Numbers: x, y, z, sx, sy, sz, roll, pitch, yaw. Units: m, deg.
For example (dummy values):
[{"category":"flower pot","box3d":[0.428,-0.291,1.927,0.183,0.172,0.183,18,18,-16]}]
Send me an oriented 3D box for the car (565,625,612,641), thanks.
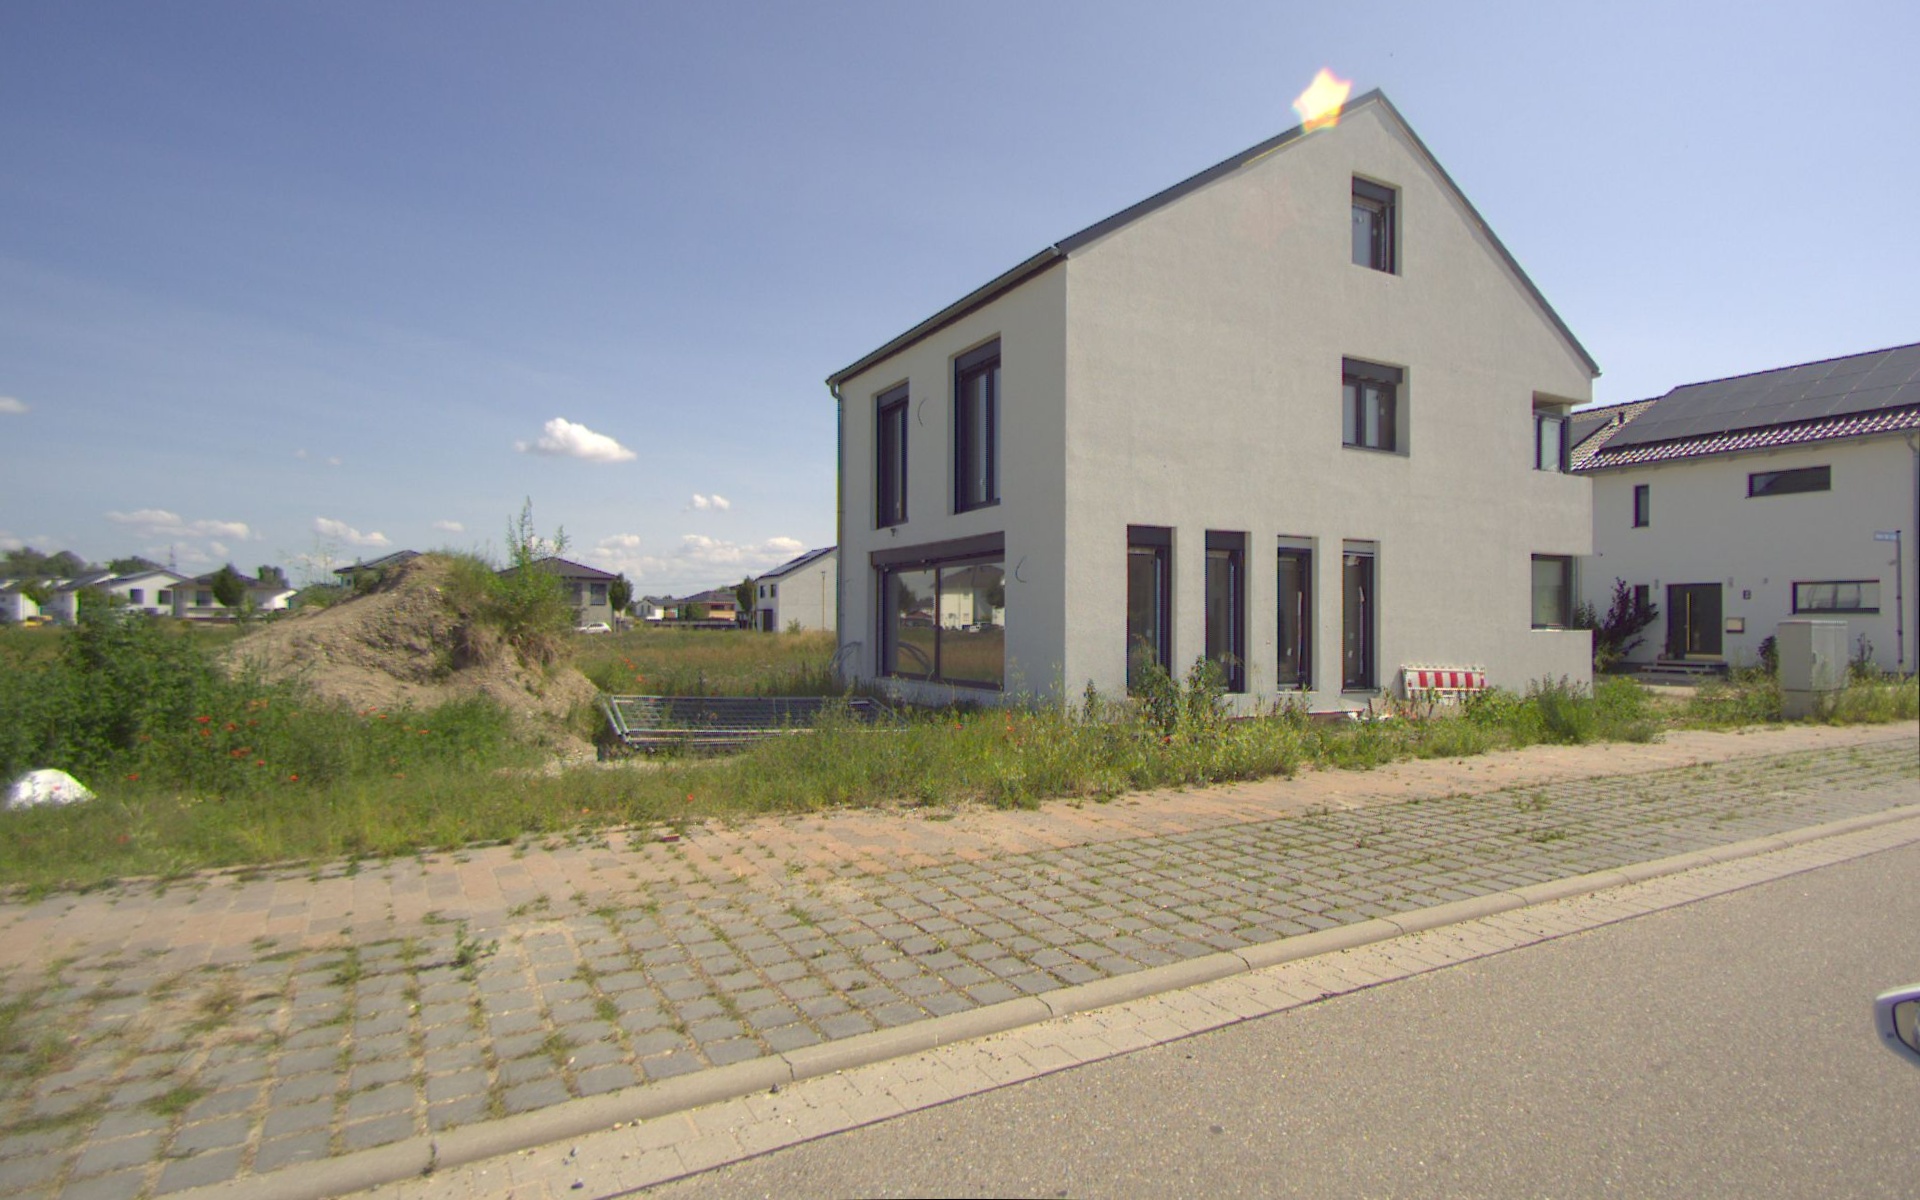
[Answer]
[{"category":"car","box3d":[-36.799,3.230,99.527,3.962,1.572,1.816,1,-2,-37]}]
